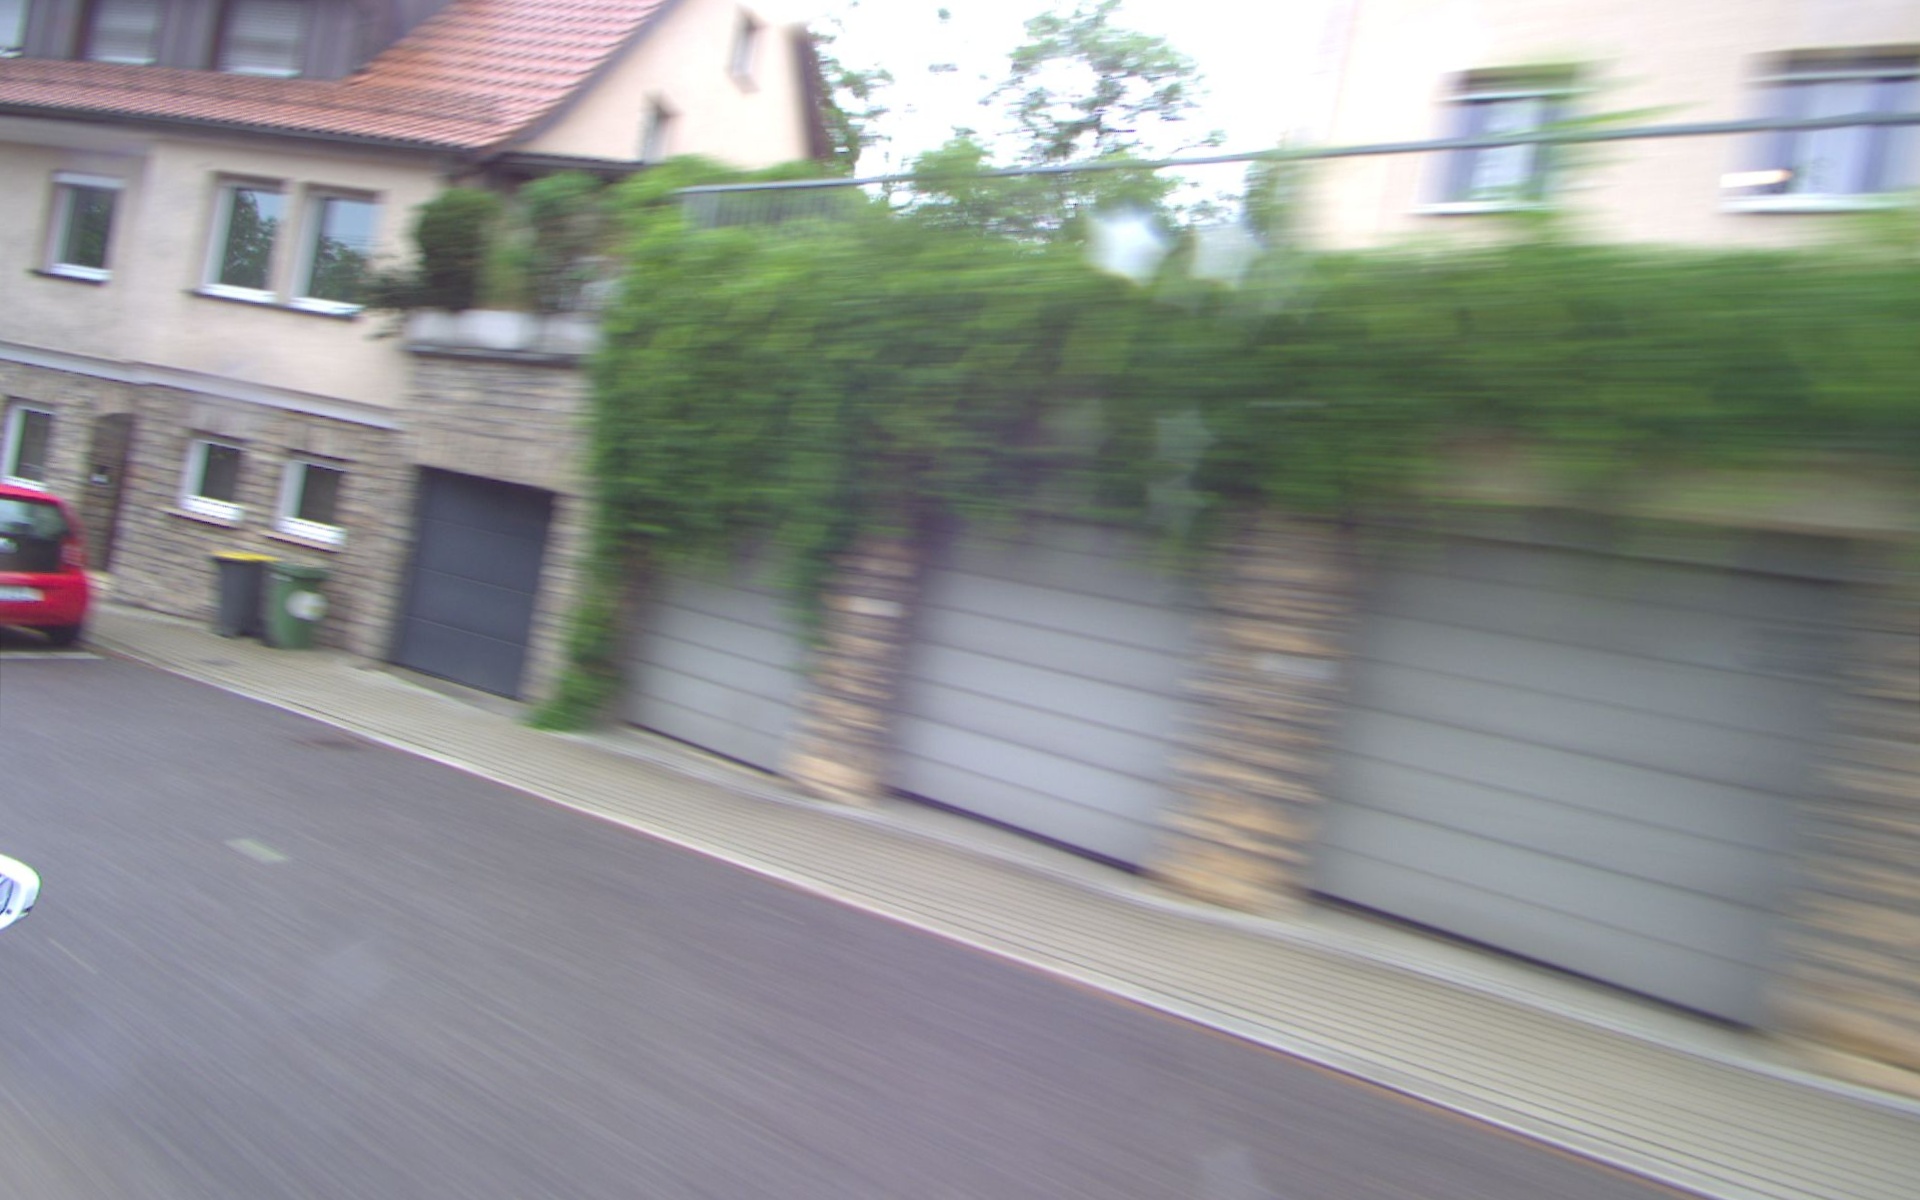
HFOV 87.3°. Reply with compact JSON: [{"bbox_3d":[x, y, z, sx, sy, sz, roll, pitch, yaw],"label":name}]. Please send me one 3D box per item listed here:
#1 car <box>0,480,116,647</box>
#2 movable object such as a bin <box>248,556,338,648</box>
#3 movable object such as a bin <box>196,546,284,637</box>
[{"bbox_3d":[-10.037,-0.518,9.568,3.516,1.453,1.619,7,1,24],"label":"car"},{"bbox_3d":[-7.369,0.024,11.122,0.505,0.936,0.596,9,4,25],"label":"movable object such as a bin"},{"bbox_3d":[-8.133,-0.092,11.371,0.498,0.936,0.588,9,4,25],"label":"movable object such as a bin"}]
